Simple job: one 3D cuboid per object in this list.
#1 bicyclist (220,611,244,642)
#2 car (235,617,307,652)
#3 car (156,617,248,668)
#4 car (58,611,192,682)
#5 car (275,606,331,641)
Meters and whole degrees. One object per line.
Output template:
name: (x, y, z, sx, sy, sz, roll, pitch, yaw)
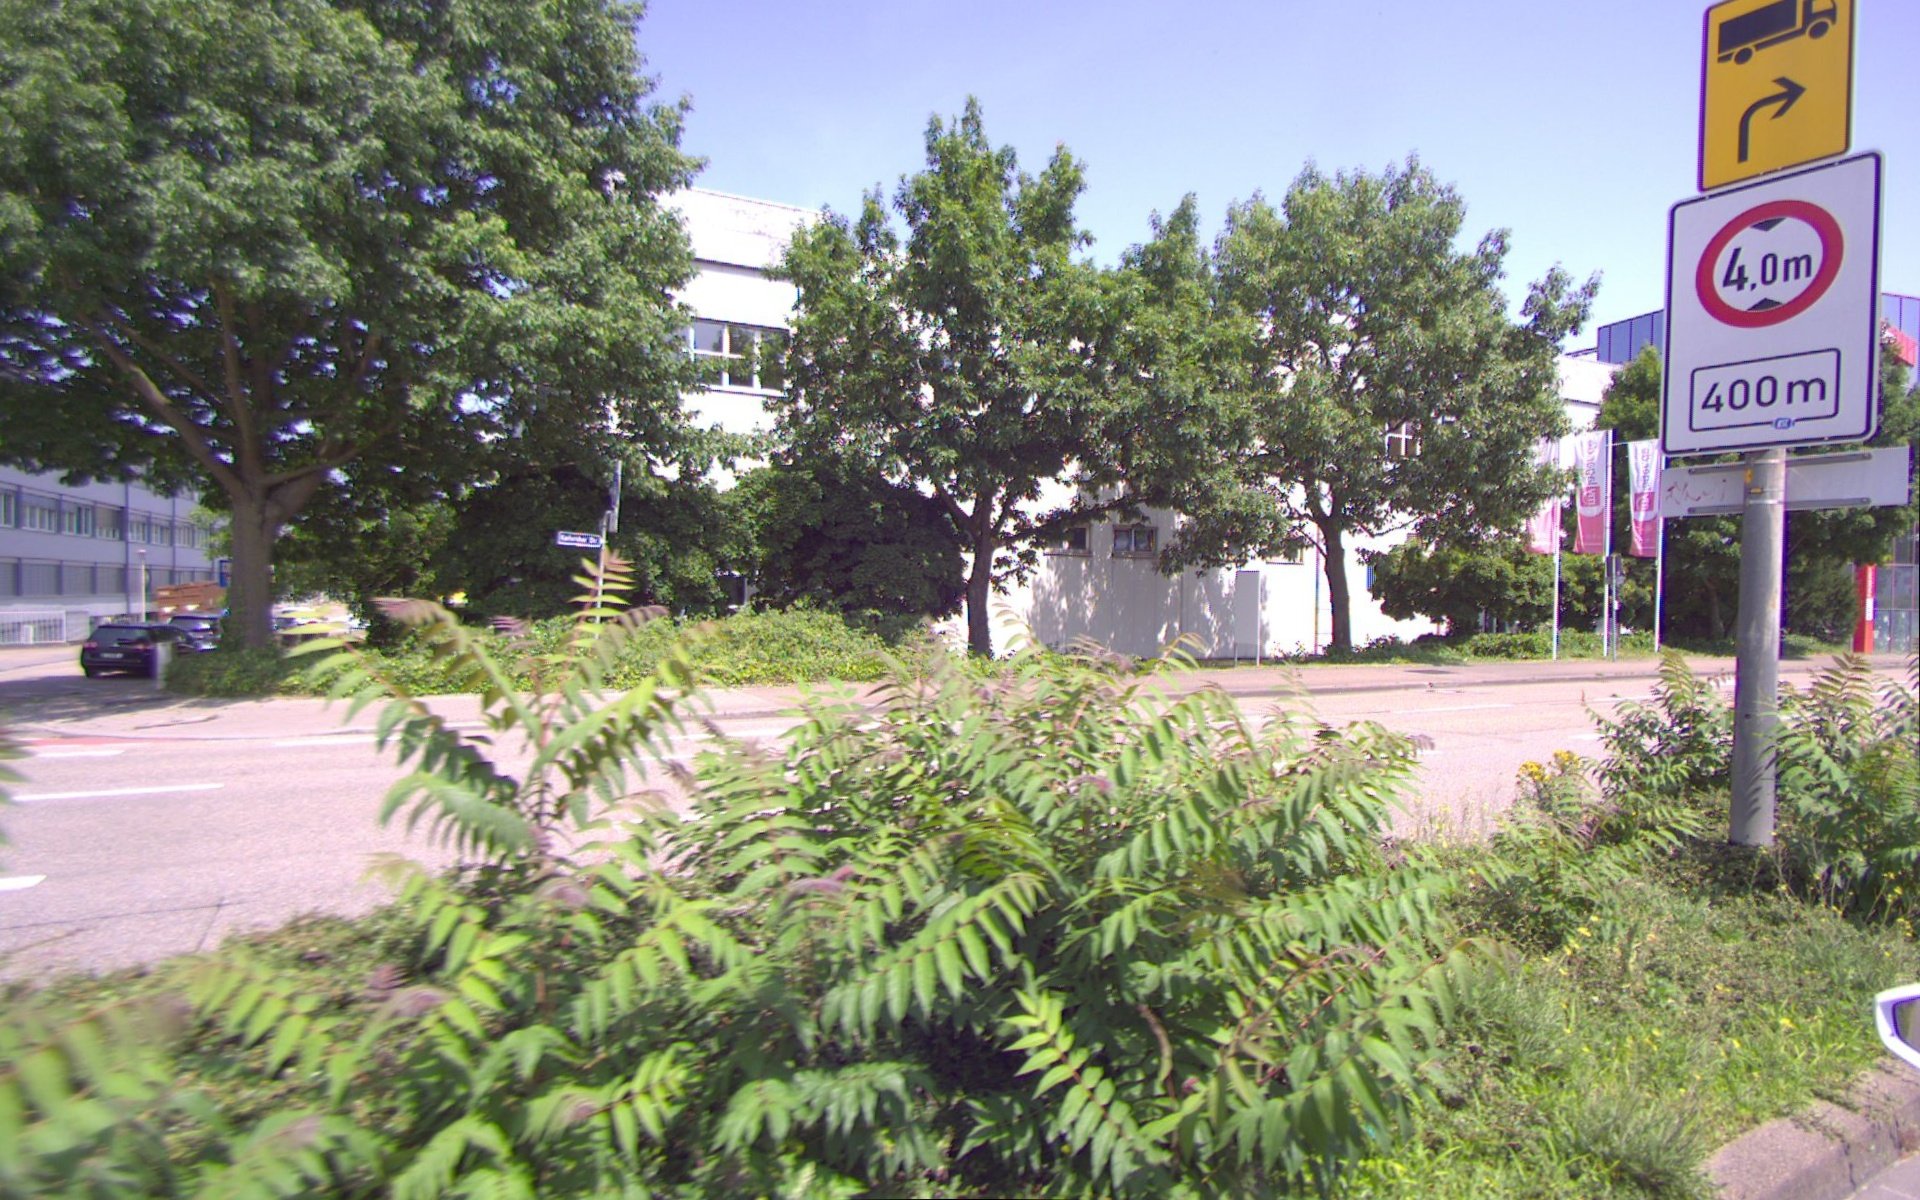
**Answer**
bicyclist: (-33.337, 1.204, 46.013, 0.735, 1.428, 0.855, 1, -1, -26)
car: (-28.967, 1.428, 42.336, 1.788, 1.389, 3.977, 1, -1, -24)
car: (-24.467, 1.328, 32.564, 1.694, 1.550, 3.972, 1, -1, -27)
car: (-22.290, 1.185, 26.989, 1.895, 1.617, 3.972, 1, 1, -27)
car: (-31.411, 1.129, 48.129, 1.695, 1.595, 3.975, 1, -1, -25)
